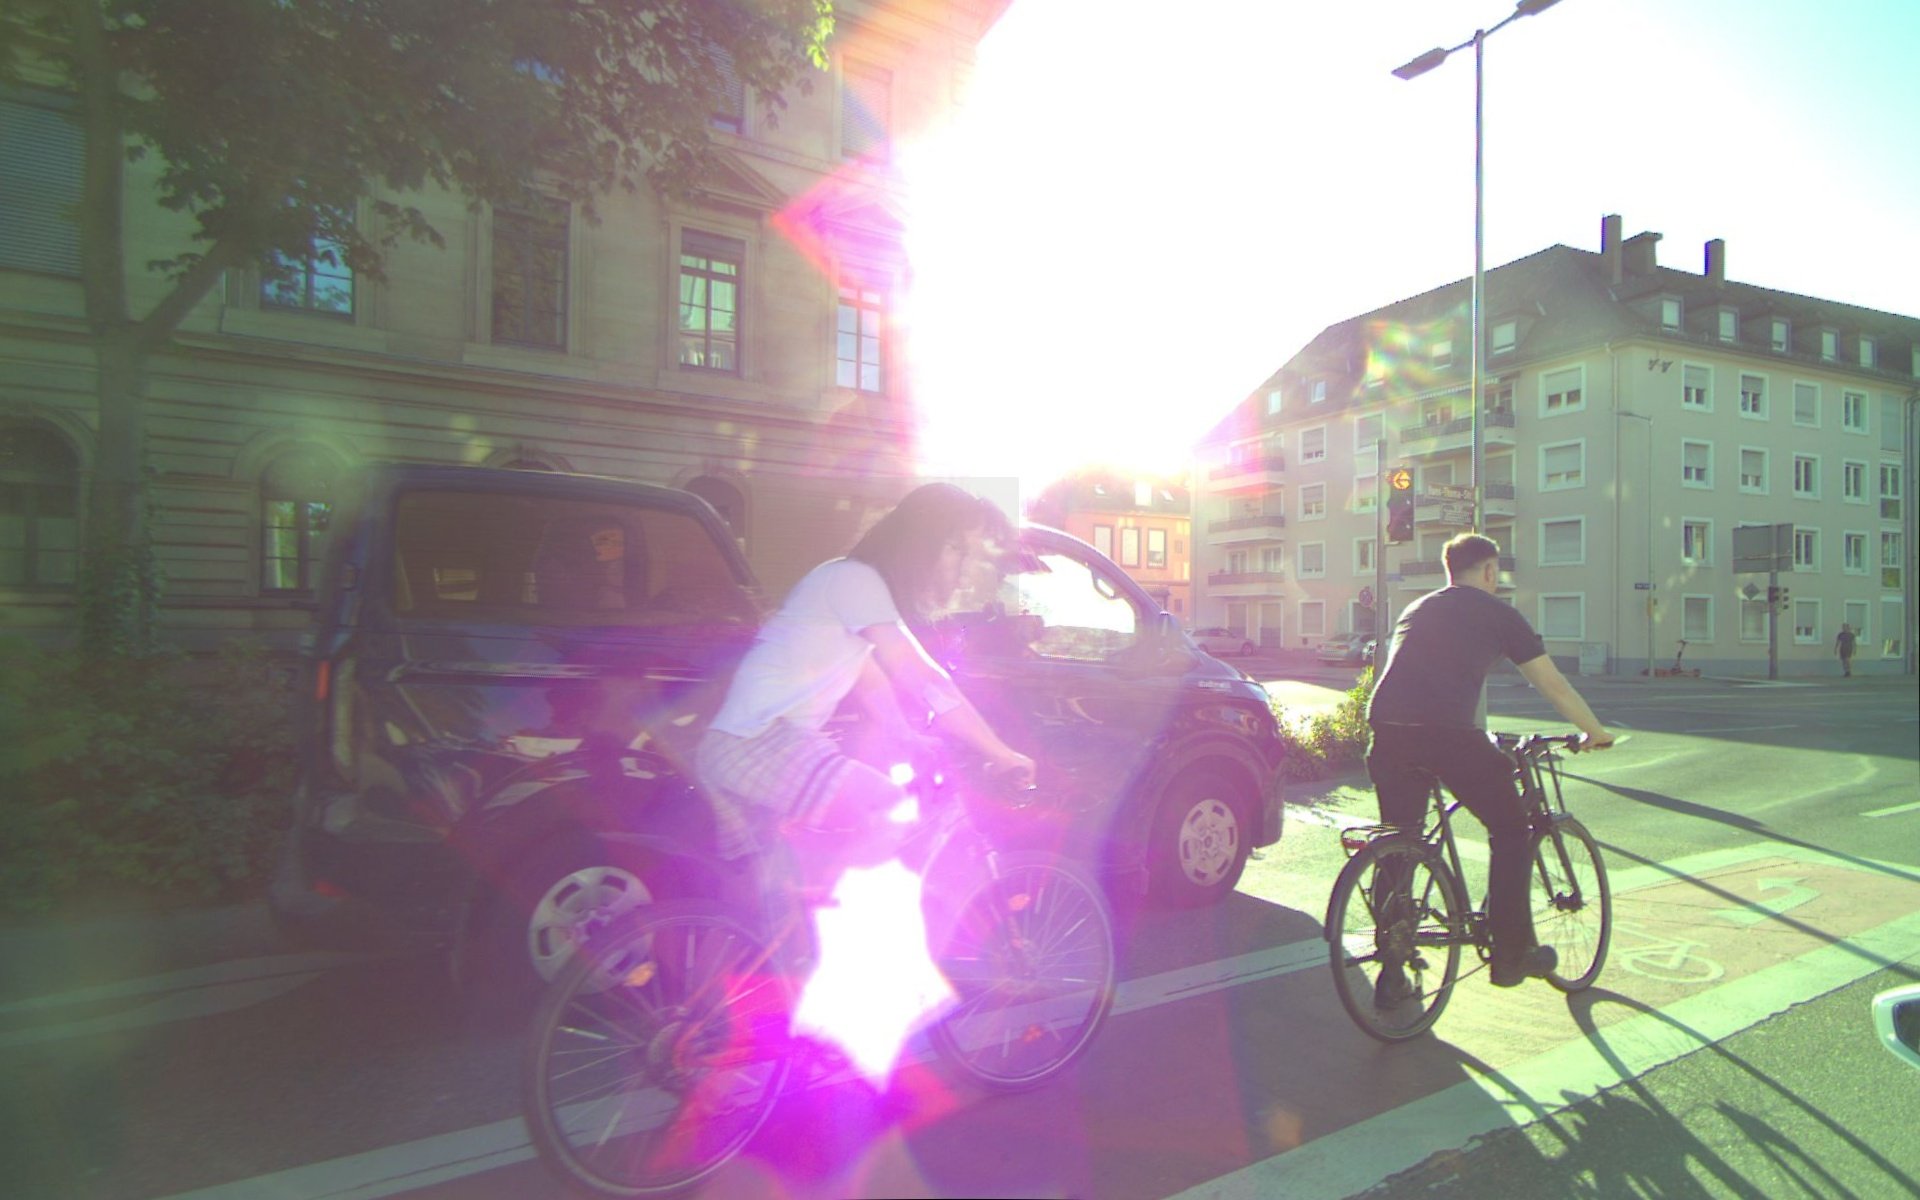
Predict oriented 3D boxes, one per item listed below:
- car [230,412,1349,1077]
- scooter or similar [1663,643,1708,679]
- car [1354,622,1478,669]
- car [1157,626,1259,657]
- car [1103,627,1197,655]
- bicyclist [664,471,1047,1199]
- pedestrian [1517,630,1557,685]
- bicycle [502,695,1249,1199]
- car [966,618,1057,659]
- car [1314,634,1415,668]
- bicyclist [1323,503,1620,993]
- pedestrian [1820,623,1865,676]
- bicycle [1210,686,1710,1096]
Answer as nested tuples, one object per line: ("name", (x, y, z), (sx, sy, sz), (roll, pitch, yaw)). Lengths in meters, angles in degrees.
("car", (-0.500, 0.519, 5.128), (4.976, 1.940, 2.058), (2, -2, -31))
("scooter or similar", (24.806, 2.069, 34.350), (1.452, 1.201, 0.532), (1, 0, -21))
("car", (17.499, 1.728, 38.498), (4.556, 1.708, 1.986), (1, -2, -28))
("car", (12.184, 2.016, 49.335), (4.722, 1.451, 1.987), (1, -2, -26))
("car", (10.162, 2.174, 53.664), (4.722, 1.451, 1.987), (1, -2, -26))
("bicyclist", (-0.319, 0.542, 2.792), (0.814, 1.629, 0.800), (1, -2, -28))
("pedestrian", (17.385, 1.714, 30.262), (0.806, 1.605, 0.630), (1, 1, -22))
("bicycle", (-0.204, 0.902, 2.857), (1.945, 1.158, 0.825), (1, -1, -28))
("car", (2.052, 1.572, 41.770), (1.972, 1.593, 4.663), (1, -2, -23))
("car", (16.306, 2.037, 40.468), (3.948, 1.327, 1.600), (1, -2, -27))
("bicyclist", (1.937, 0.505, 3.839), (0.814, 1.629, 0.667), (1, -2, -28))
("pedestrian", (32.842, 1.833, 37.379), (1.000, 1.888, 0.866), (1, 1, -21))
("bicycle", (1.963, 0.955, 3.841), (2.051, 1.170, 0.639), (1, -1, -28))
